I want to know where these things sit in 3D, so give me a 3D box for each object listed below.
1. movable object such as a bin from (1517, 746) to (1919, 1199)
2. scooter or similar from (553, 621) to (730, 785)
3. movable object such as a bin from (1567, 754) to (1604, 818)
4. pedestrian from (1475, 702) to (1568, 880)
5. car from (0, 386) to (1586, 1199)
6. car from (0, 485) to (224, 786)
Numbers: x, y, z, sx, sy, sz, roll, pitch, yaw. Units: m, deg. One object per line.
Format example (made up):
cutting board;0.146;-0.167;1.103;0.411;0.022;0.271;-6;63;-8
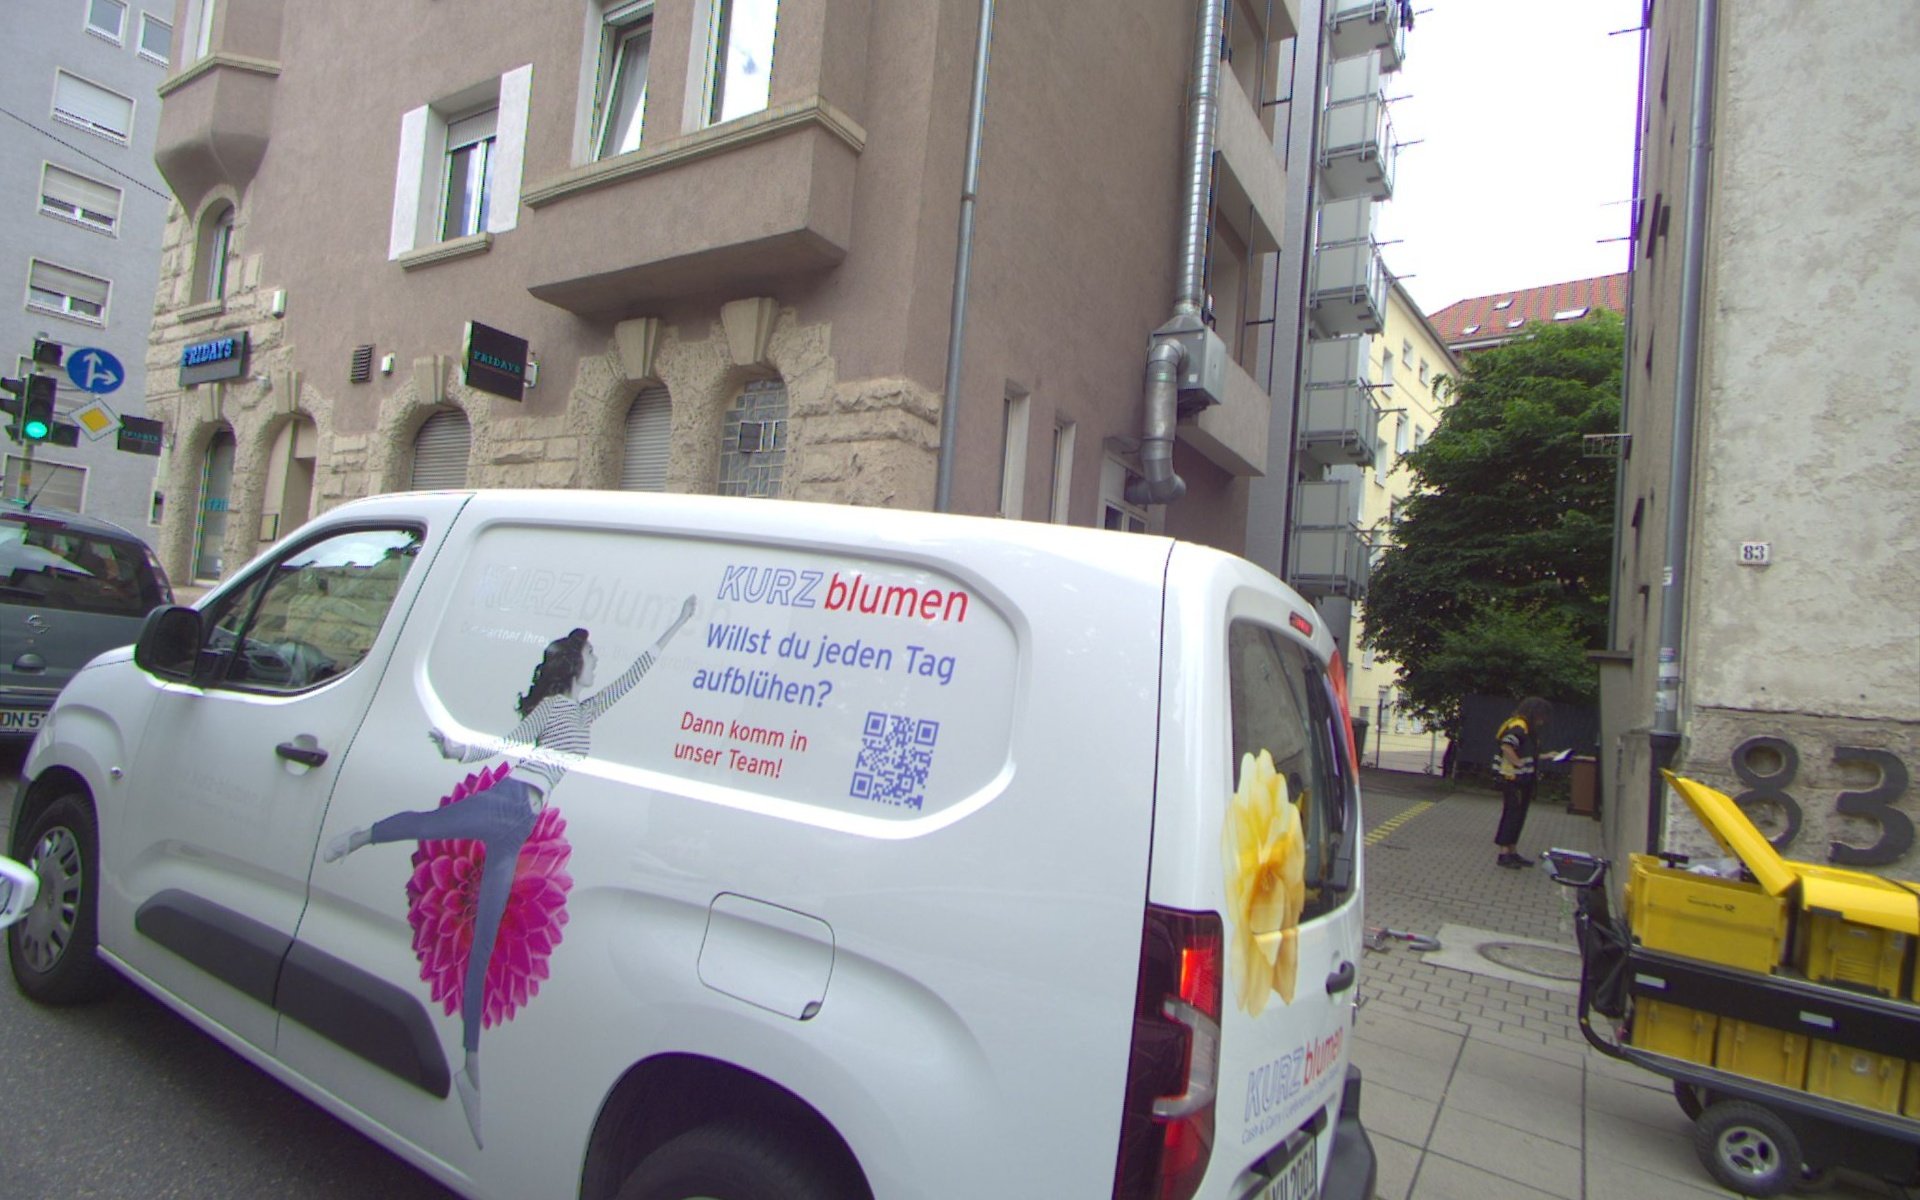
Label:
movable object such as a bin;3.393;1.461;3.951;1.979;1.391;1.223;6;0;30
scooter or similar;-2.641;0.819;8.298;1.400;1.117;0.527;6;-1;34
movable object such as a bin;9.930;2.944;15.987;0.405;0.922;0.340;6;-1;32
pedestrian;5.729;1.891;10.250;0.772;1.665;0.809;0;-3;32
car;-0.907;0.575;3.130;4.597;1.793;1.983;6;-5;30
car;-6.648;0.055;6.494;3.608;1.614;1.634;6;-5;32
